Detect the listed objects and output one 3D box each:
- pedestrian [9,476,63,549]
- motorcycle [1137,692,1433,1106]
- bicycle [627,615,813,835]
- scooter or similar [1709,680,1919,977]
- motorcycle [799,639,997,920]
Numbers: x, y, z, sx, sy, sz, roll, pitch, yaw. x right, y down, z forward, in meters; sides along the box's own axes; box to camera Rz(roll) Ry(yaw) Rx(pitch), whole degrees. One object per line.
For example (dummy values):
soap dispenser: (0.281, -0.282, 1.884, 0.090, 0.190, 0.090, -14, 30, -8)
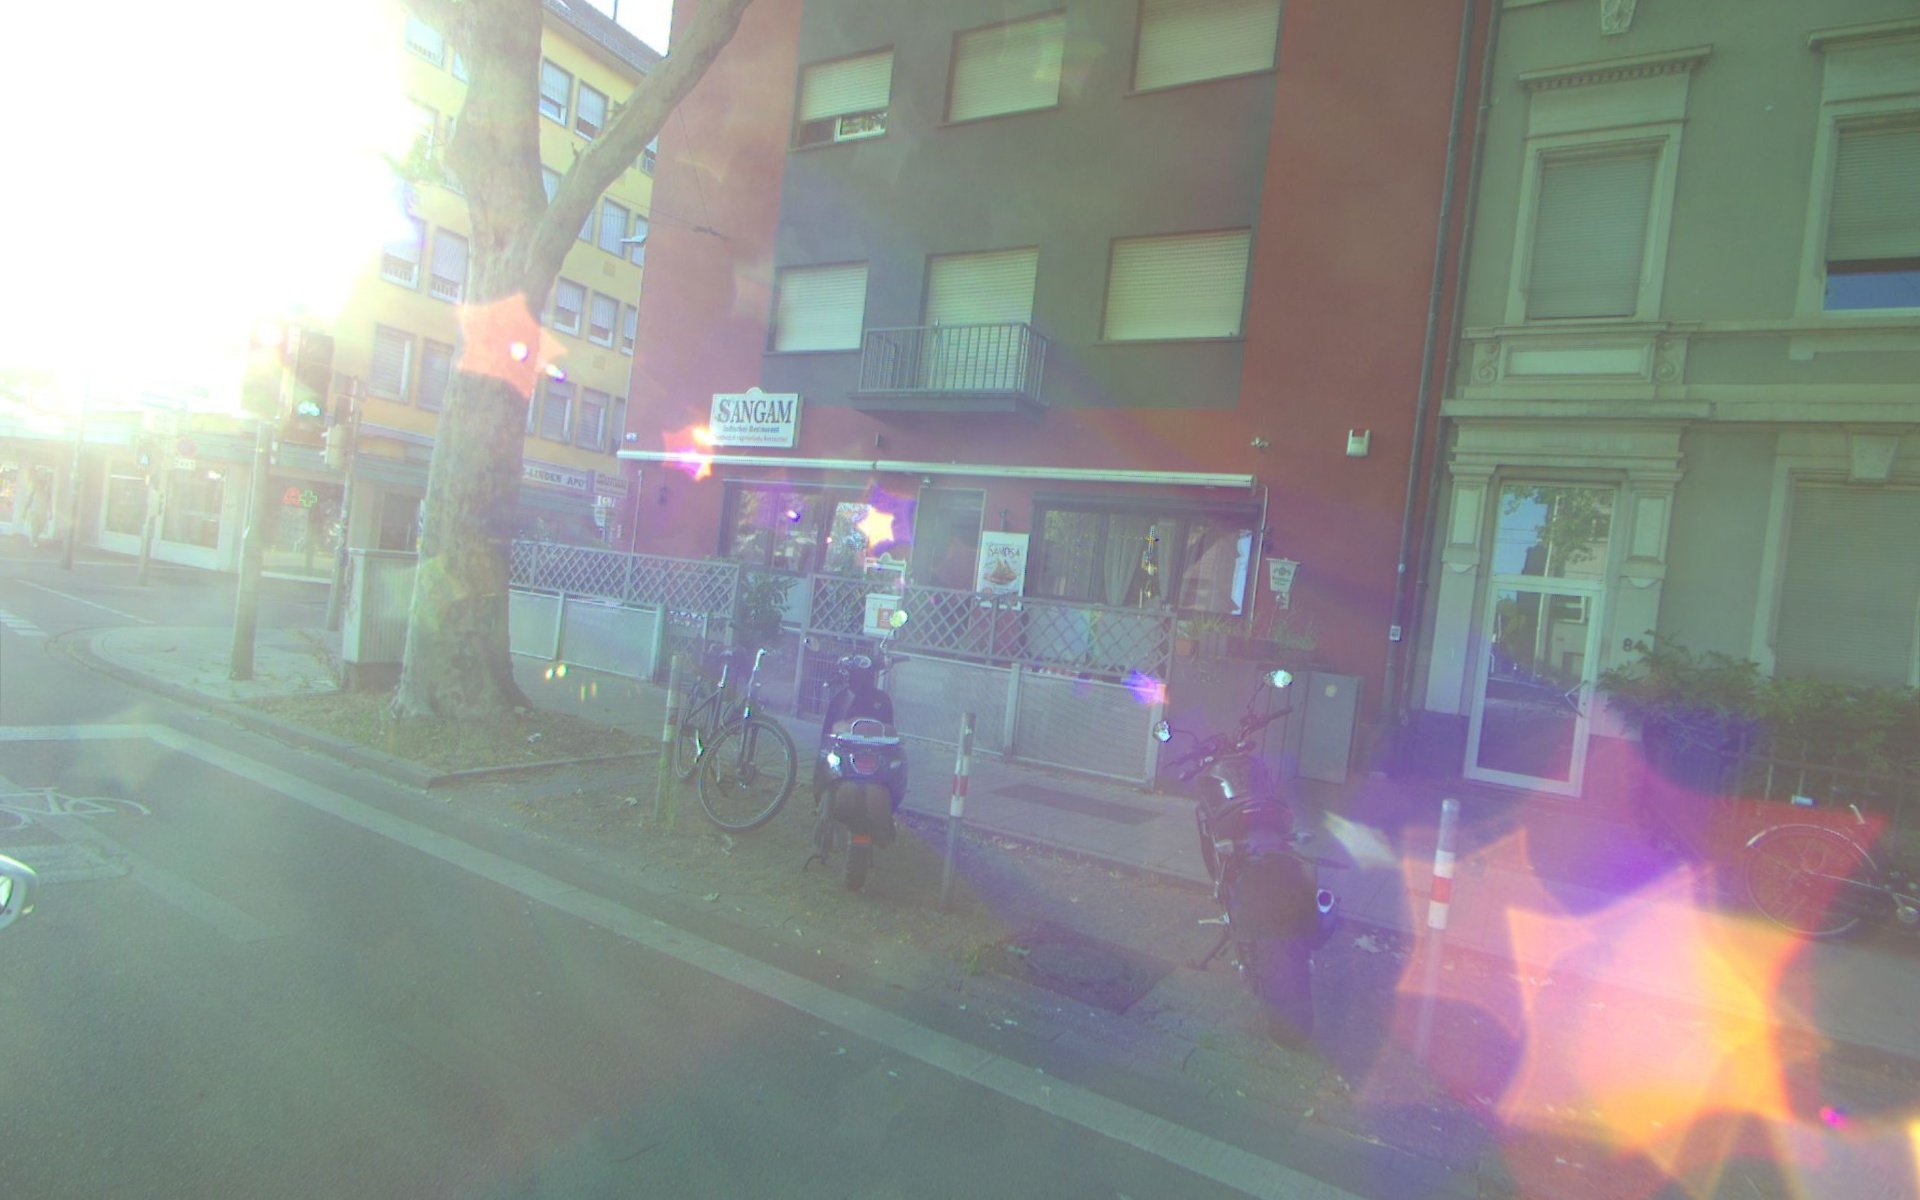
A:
pedestrian: (-24.559, -2.317, 26.739, 0.880, 1.803, 0.744, 6, 2, 31)
motorcycle: (1.322, 1.147, 4.618, 0.651, 1.125, 2.212, 7, 2, 4)
bicycle: (-1.692, 0.778, 6.851, 0.614, 1.126, 1.784, 5, 3, -31)
scooter or similar: (5.759, 1.353, 5.474, 2.502, 1.488, 0.665, 7, 1, 32)
motorcycle: (-0.440, 0.908, 5.729, 0.772, 1.126, 1.885, 6, 2, -11)
